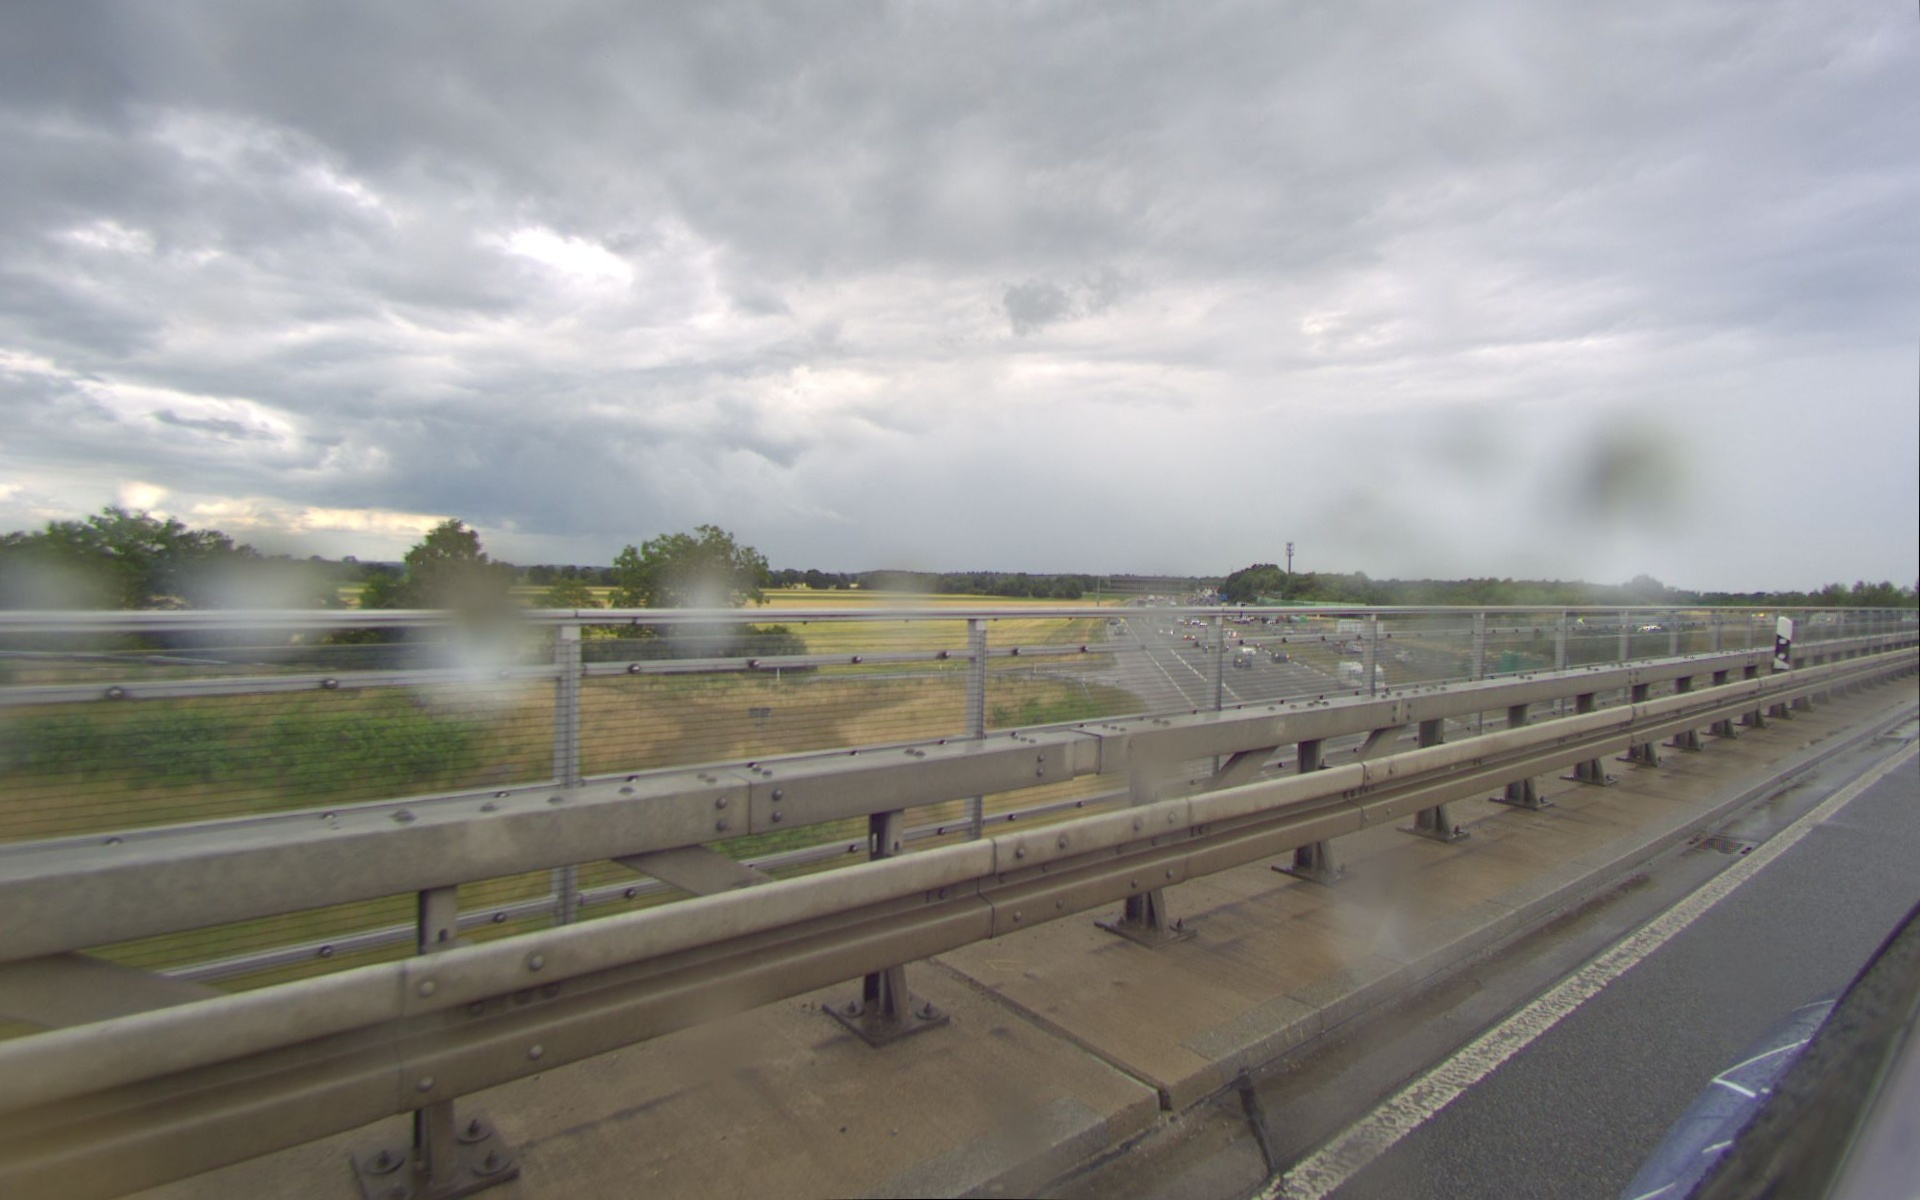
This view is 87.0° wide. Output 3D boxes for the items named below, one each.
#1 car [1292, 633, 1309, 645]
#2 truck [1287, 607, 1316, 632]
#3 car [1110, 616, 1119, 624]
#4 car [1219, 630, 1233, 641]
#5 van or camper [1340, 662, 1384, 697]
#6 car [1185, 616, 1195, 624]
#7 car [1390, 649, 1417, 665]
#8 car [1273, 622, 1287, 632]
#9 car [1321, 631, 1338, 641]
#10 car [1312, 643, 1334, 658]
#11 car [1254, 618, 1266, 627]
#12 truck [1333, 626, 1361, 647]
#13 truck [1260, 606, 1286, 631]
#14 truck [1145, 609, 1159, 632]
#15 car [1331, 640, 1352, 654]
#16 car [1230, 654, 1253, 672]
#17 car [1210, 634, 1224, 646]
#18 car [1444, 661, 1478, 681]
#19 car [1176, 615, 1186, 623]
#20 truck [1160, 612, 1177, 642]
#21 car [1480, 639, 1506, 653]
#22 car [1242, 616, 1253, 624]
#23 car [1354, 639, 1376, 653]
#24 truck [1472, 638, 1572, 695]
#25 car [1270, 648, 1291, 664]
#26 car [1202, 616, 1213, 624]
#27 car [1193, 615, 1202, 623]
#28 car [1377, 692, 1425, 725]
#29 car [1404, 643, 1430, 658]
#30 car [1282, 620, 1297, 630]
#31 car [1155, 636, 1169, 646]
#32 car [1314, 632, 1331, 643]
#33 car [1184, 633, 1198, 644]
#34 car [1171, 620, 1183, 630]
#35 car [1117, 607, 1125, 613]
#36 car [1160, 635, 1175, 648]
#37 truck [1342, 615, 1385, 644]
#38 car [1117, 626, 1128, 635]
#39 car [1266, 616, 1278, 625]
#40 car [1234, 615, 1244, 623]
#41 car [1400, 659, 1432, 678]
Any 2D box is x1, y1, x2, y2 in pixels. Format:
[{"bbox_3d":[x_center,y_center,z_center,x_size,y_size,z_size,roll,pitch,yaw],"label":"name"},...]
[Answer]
[{"bbox_3d":[55.101,6.264,163.776,1.826,1.690,4.713,0,0,8],"label":"car"},{"bbox_3d":[76.593,4.358,227.497,3.241,5.230,15.595,0,0,8],"label":"truck"},{"bbox_3d":[32.858,4.278,215.610,1.826,1.690,4.713,0,0,8],"label":"car"},{"bbox_3d":[47.056,6.305,179.143,1.826,1.690,4.713,0,0,8],"label":"car"},{"bbox_3d":[36.258,7.127,91.385,2.025,2.481,7.312,0,0,8],"label":"van or camper"},{"bbox_3d":[49.442,4.327,217.832,1.826,1.690,4.713,0,0,8],"label":"car"},{"bbox_3d":[54.114,6.918,123.559,1.826,1.690,4.713,0,0,8],"label":"car"},{"bbox_3d":[59.022,4.963,186.790,1.826,1.690,4.713,0,0,8],"label":"car"},{"bbox_3d":[65.240,6.346,178.750,1.826,1.690,4.713,0,0,8],"label":"car"},{"bbox_3d":[47.758,6.579,133.304,1.826,1.690,4.713,0,0,8],"label":"car"},{"bbox_3d":[60.873,4.489,205.366,1.826,1.690,4.713,0,0,8],"label":"car"},{"bbox_3d":[61.973,5.740,162.309,2.175,3.003,9.286,0,0,8],"label":"truck"},{"bbox_3d":[74.244,4.230,240.152,3.241,5.511,15.595,0,0,8],"label":"truck"},{"bbox_3d":[42.730,4.480,224.921,2.751,4.676,12.711,0,0,12],"label":"truck"},{"bbox_3d":[52.709,6.518,139.858,1.826,1.690,4.713,0,0,8],"label":"car"},{"bbox_3d":[31.322,7.033,112.643,1.826,1.690,4.713,0,0,8],"label":"car"},{"bbox_3d":[41.291,6.352,162.675,1.826,1.690,4.713,0,0,8],"label":"car"},{"bbox_3d":[51.672,7.288,104.449,1.826,1.690,4.713,0,0,8],"label":"car"},{"bbox_3d":[49.965,4.287,228.965,1.826,1.690,4.713,0,0,8],"label":"car"},{"bbox_3d":[37.224,4.762,180.610,2.751,4.962,12.711,0,0,12],"label":"truck"},{"bbox_3d":[75.489,6.543,143.372,1.826,1.690,4.713,0,0,8],"label":"car"},{"bbox_3d":[64.621,4.404,227.606,1.826,1.690,4.713,0,0,8],"label":"car"},{"bbox_3d":[57.251,6.478,143.244,1.826,1.690,4.713,0,0,8],"label":"car"},{"bbox_3d":[55.775,6.381,101.202,3.545,4.595,15.588,0,0,9],"label":"truck"},{"bbox_3d":[39.515,6.907,124.877,1.826,1.690,4.713,0,0,8],"label":"car"},{"bbox_3d":[54.268,4.390,221.693,1.826,1.690,4.713,0,0,8],"label":"car"},{"bbox_3d":[55.631,4.372,237.007,1.826,1.690,4.713,0,0,8],"label":"car"},{"bbox_3d":[29.915,7.327,68.828,1.784,1.690,4.713,0,0,8],"label":"car"},{"bbox_3d":[60.346,6.644,133.763,1.826,1.690,4.713,0,0,8],"label":"car"},{"bbox_3d":[63.629,4.834,195.443,1.826,1.690,4.713,0,0,8],"label":"car"},{"bbox_3d":[31.511,6.418,158.276,1.783,1.454,4.715,0,0,7],"label":"car"},{"bbox_3d":[60.930,6.354,170.207,1.826,1.690,4.713,0,0,8],"label":"car"},{"bbox_3d":[37.181,6.201,163.038,1.826,1.690,4.713,0,0,8],"label":"car"},{"bbox_3d":[41.973,4.832,195.797,1.826,1.690,4.713,0,0,8],"label":"car"},{"bbox_3d":[39.324,2.386,247.671,1.783,1.454,4.715,0,0,7],"label":"car"},{"bbox_3d":[29.783,5.980,145.245,1.826,1.690,4.713,0,0,8],"label":"car"},{"bbox_3d":[68.935,4.931,173.345,3.545,4.595,15.588,0,0,9],"label":"truck"},{"bbox_3d":[28.490,5.314,177.518,1.783,1.454,4.715,0,0,7],"label":"car"},{"bbox_3d":[66.672,4.360,216.234,1.826,1.797,4.713,0,0,8],"label":"car"},{"bbox_3d":[65.796,4.392,238.672,1.826,1.797,4.713,0,0,8],"label":"car"},{"bbox_3d":[47.842,7.176,106.305,1.826,1.690,4.713,0,0,8],"label":"car"}]
